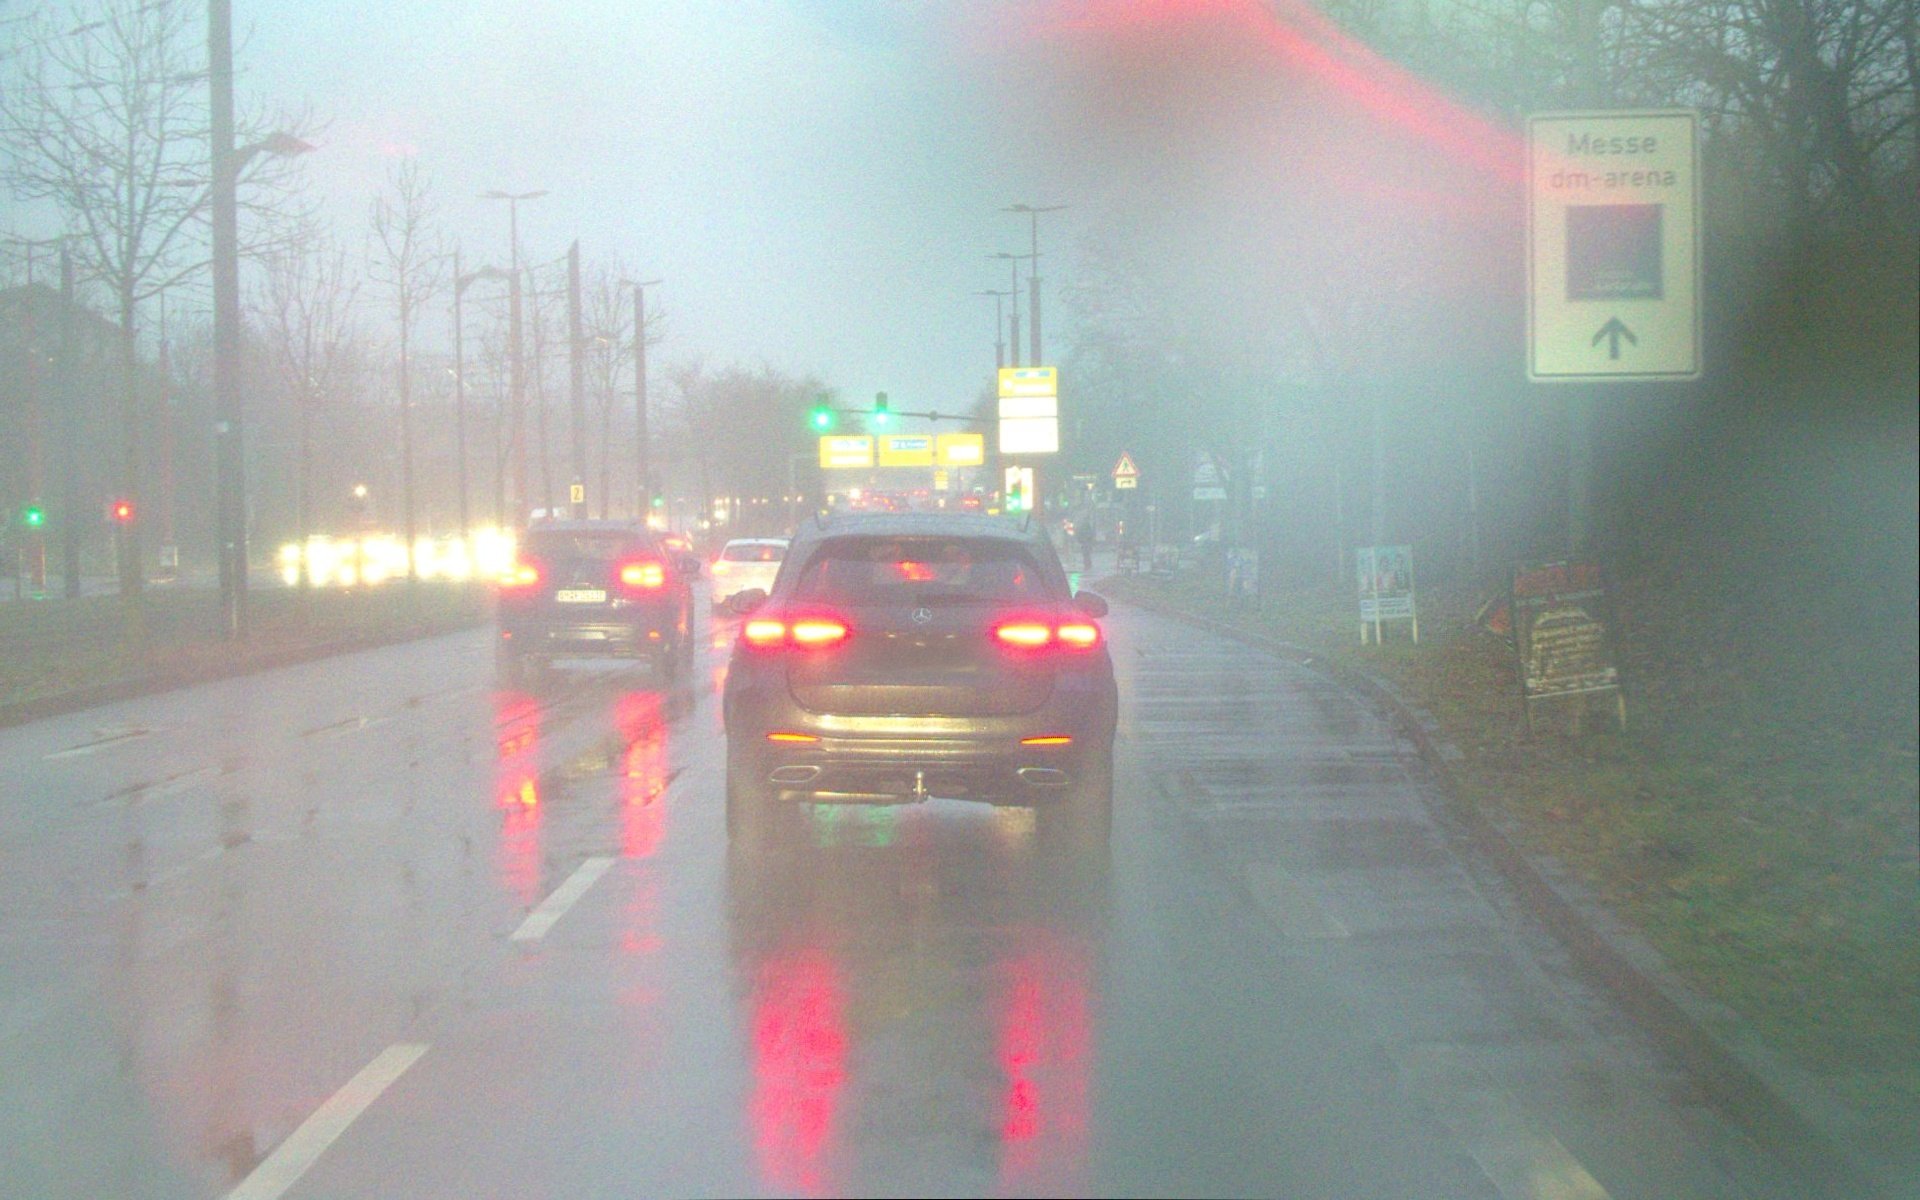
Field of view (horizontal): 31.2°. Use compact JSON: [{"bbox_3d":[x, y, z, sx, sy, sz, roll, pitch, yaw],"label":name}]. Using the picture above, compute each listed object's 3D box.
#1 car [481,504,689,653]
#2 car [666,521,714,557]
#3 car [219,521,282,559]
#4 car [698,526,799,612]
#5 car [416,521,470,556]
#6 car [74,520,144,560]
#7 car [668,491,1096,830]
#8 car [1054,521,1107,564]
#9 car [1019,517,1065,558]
[{"bbox_3d":[-3.942,-0.272,36.751,1.880,1.454,4.001,-1,2,-2],"label":"car"},{"bbox_3d":[-12.618,-2.842,160.792,1.993,1.660,3.836,0,1,-1],"label":"car"},{"bbox_3d":[-31.266,-2.623,151.599,1.993,1.652,4.000,0,1,-1],"label":"car"},{"bbox_3d":[-3.999,-0.612,65.585,1.708,1.552,3.996,-1,1,-1],"label":"car"},{"bbox_3d":[-24.290,-2.877,161.708,1.993,1.652,4.000,0,1,-1],"label":"car"},{"bbox_3d":[-35.770,-2.507,144.665,1.993,1.652,4.000,0,1,-1],"label":"car"},{"bbox_3d":[-0.398,0.233,18.105,1.998,1.578,4.000,0,1,-1],"label":"car"},{"bbox_3d":[4.954,-2.356,141.708,1.993,1.753,4.000,0,1,-1],"label":"car"},{"bbox_3d":[3.764,-2.888,158.944,1.993,1.850,4.000,0,1,-1],"label":"car"}]
